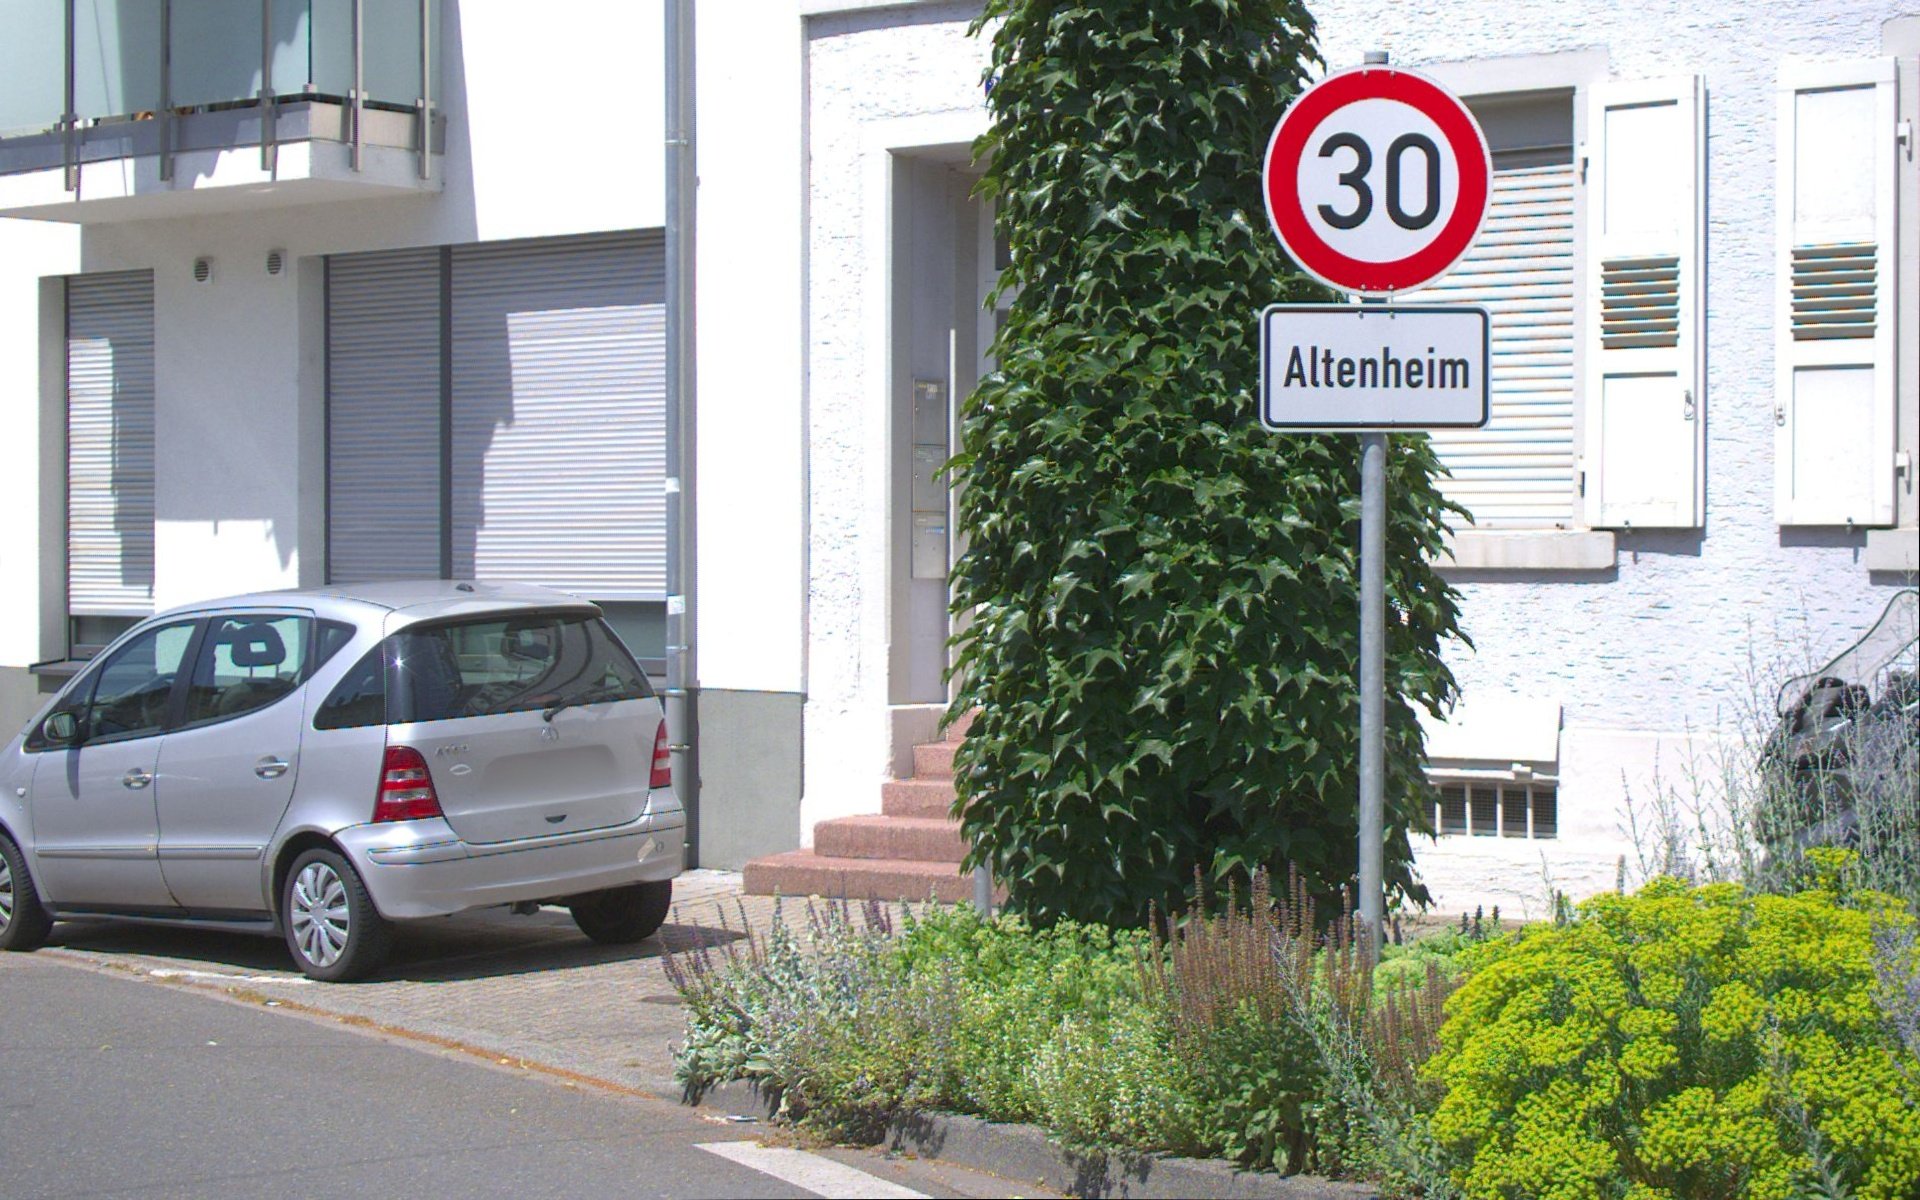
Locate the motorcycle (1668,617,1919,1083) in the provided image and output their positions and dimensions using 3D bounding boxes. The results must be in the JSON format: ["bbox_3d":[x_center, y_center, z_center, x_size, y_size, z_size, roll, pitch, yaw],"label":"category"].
[{"bbox_3d":[3.327,0.741,10.155,2.336,1.347,0.800,1,1,42],"label":"motorcycle"}]

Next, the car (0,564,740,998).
[{"bbox_3d":[-2.912,0.701,15.173,3.797,1.605,1.728,0,2,44],"label":"car"}]
